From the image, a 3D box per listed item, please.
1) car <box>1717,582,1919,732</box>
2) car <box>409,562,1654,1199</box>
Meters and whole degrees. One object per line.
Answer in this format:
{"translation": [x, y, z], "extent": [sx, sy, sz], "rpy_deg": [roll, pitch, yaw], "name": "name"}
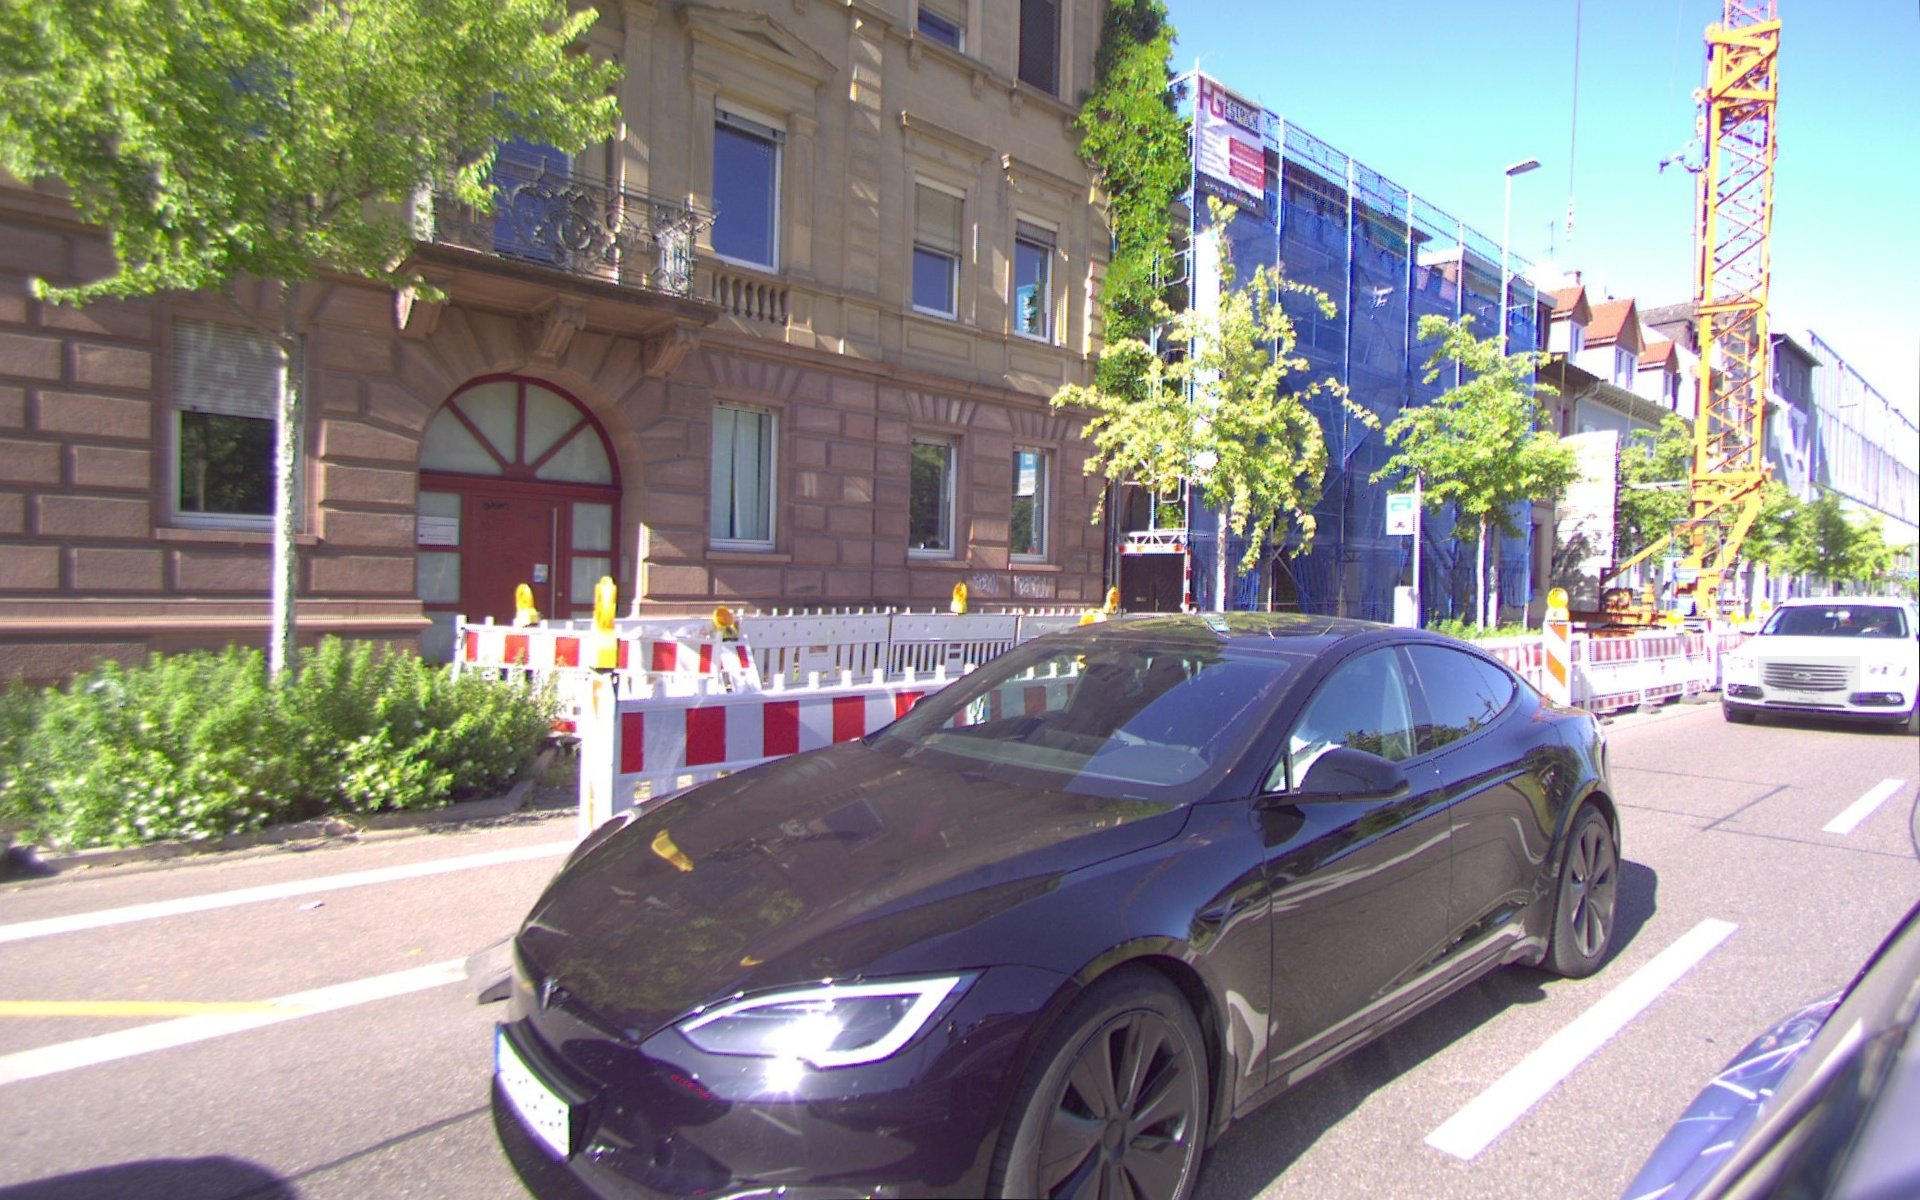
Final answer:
{"translation": [11.516, 0.632, 13.065], "extent": [3.928, 1.654, 1.933], "rpy_deg": [0, 0, -40], "name": "car"}
{"translation": [0.679, 0.679, 3.732], "extent": [4.445, 1.462, 2.055], "rpy_deg": [0, 0, -41], "name": "car"}
